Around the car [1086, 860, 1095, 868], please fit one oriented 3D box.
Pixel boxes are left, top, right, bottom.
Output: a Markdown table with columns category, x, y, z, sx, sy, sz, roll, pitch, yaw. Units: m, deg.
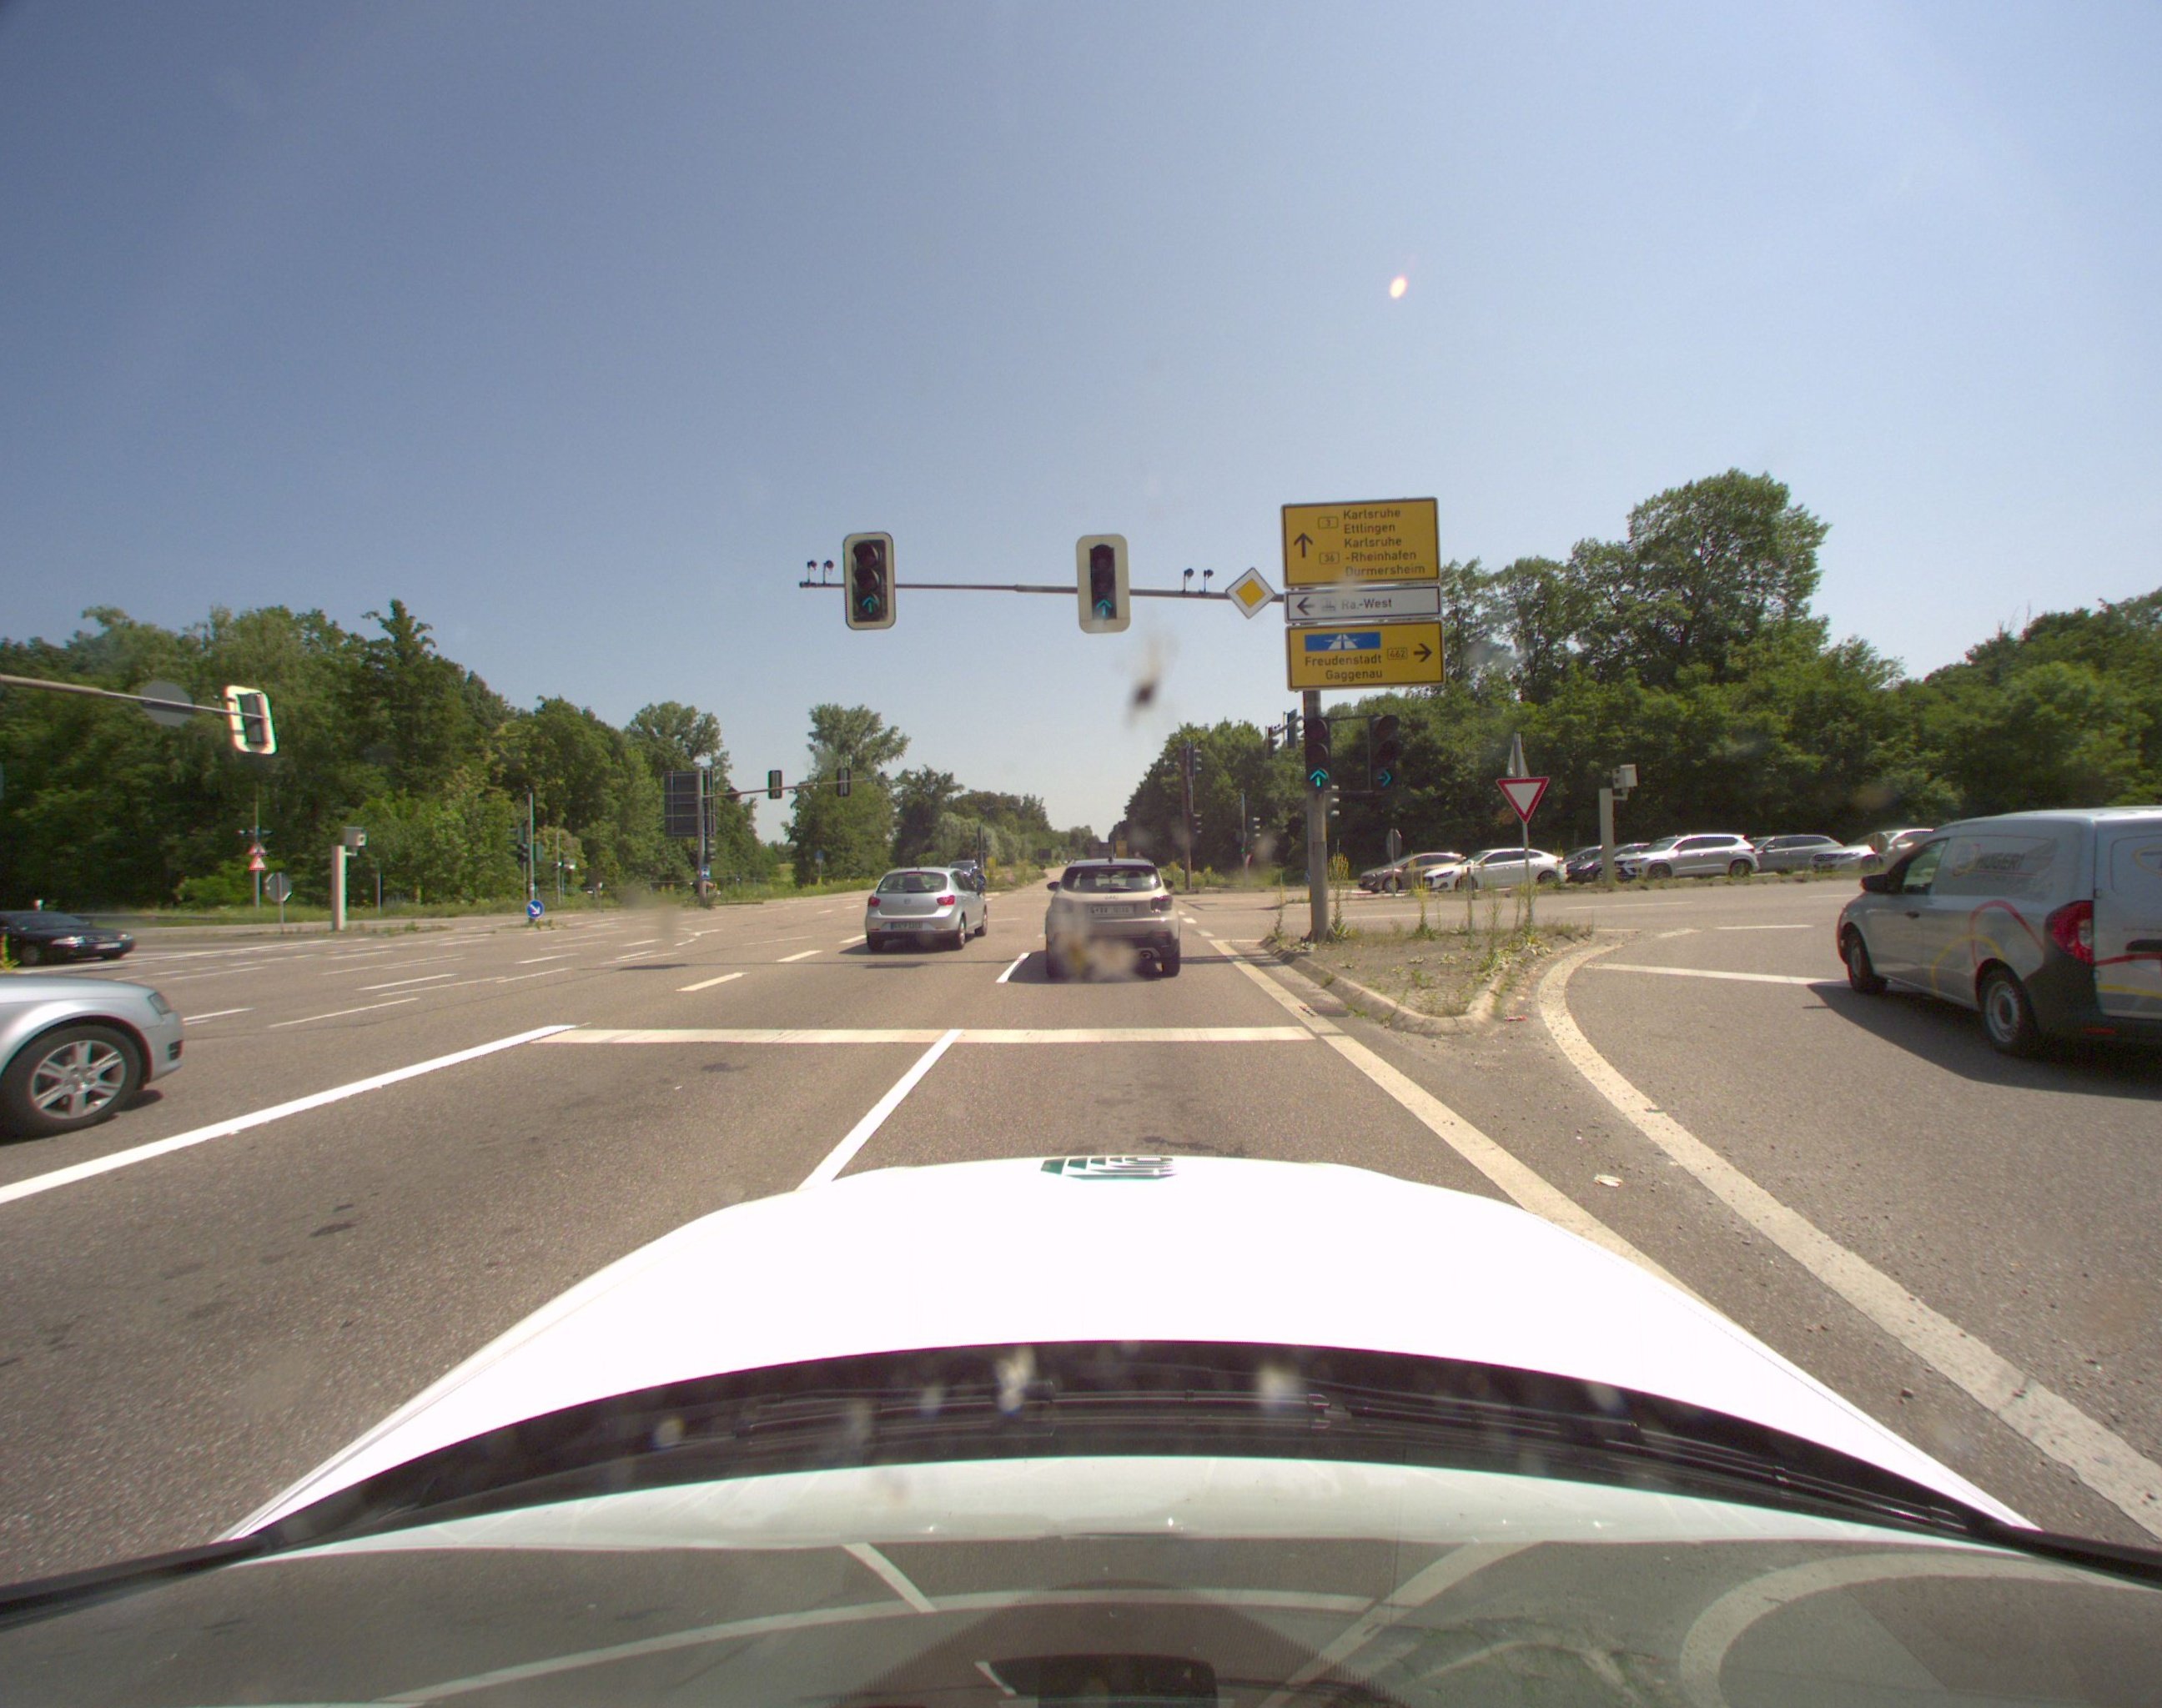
| category | x | y | z | sx | sy | sz | roll | pitch | yaw |
| --- | --- | --- | --- | --- | --- | --- | --- | --- | --- |
| car | 2.495 | 2.518 | 210.857 | 1.986 | 2.014 | 4.555 | -2 | -1 | 2 |

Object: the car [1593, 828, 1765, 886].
| category | x | y | z | sx | sy | sz | roll | pitch | yaw |
| --- | --- | --- | --- | --- | --- | --- | --- | --- | --- |
| car | 19.626 | 0.100 | 26.886 | 4.156 | 1.659 | 2.001 | -2 | -1 | 2 |

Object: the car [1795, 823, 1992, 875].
| category | x | y | z | sx | sy | sz | roll | pitch | yaw |
| --- | --- | --- | --- | --- | --- | --- | --- | --- | --- |
| car | 26.405 | -0.140 | 26.587 | 4.314 | 1.414 | 1.975 | -3 | -1 | 2 |

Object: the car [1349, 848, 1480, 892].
| category | x | y | z | sx | sy | sz | roll | pitch | yaw |
| --- | --- | --- | --- | --- | --- | --- | --- | --- | --- |
| car | 12.467 | 0.595 | 30.635 | 4.079 | 1.447 | 1.995 | -2 | -1 | -1 |

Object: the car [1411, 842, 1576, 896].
| category | x | y | z | sx | sy | sz | roll | pitch | yaw |
| --- | --- | --- | --- | --- | --- | --- | --- | --- | --- |
| car | 13.450 | 0.477 | 26.757 | 4.405 | 1.535 | 2.000 | -2 | -1 | 0 |

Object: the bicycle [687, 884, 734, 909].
| category | x | y | z | sx | sy | sz | roll | pitch | yaw |
| --- | --- | --- | --- | --- | --- | --- | --- | --- | --- |
| bicycle | -17.653 | 2.020 | 38.855 | 0.715 | 1.063 | 1.881 | -3 | -1 | 39 |

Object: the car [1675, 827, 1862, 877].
| category | x | y | z | sx | sy | sz | roll | pitch | yaw |
| --- | --- | --- | --- | --- | --- | --- | --- | --- | --- |
| car | 25.626 | -0.049 | 30.521 | 5.109 | 1.534 | 2.139 | -3 | -2 | 2 |

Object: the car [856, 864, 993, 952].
| category | x | y | z | sx | sy | sz | roll | pitch | yaw |
| --- | --- | --- | --- | --- | --- | --- | --- | --- | --- |
| car | -2.788 | 0.917 | 15.309 | 1.659 | 1.430 | 3.830 | 0 | -1 | 3 |

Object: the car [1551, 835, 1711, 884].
| category | x | y | z | sx | sy | sz | roll | pitch | yaw |
| --- | --- | --- | --- | --- | --- | --- | --- | --- | --- |
| car | 20.115 | 0.216 | 29.941 | 4.403 | 1.535 | 2.123 | -2 | -2 | 1 |

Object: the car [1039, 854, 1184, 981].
| category | x | y | z | sx | sy | sz | roll | pitch | yaw |
| --- | --- | --- | --- | --- | --- | --- | --- | --- | --- |
| car | 0.468 | 0.799 | 12.065 | 1.760 | 1.535 | 4.003 | -1 | -1 | 3 |

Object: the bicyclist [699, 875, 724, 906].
| category | x | y | z | sx | sy | sz | roll | pitch | yaw |
| --- | --- | --- | --- | --- | --- | --- | --- | --- | --- |
| bicyclist | -17.658 | 1.742 | 38.886 | 0.914 | 1.459 | 0.721 | -3 | -1 | 39 |

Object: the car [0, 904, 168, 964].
| category | x | y | z | sx | sy | sz | roll | pitch | yaw |
| --- | --- | --- | --- | --- | --- | --- | --- | --- | --- |
| car | -27.042 | 2.089 | 20.959 | 4.786 | 1.290 | 2.106 | -2 | -1 | 2 |

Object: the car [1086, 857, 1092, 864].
| category | x | y | z | sx | sy | sz | roll | pitch | yaw |
| --- | --- | --- | --- | --- | --- | --- | --- | --- | --- |
| car | 2.473 | 2.033 | 256.585 | 1.767 | 2.014 | 4.003 | -2 | -1 | 3 |

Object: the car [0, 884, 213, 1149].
| category | x | y | z | sx | sy | sz | roll | pitch | yaw |
| --- | --- | --- | --- | --- | --- | --- | --- | --- | --- |
| car | -6.704 | 0.895 | 3.430 | 1.759 | 1.391 | 4.014 | 0 | 0 | 0 |

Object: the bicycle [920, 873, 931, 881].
| category | x | y | z | sx | sy | sz | roll | pitch | yaw |
| --- | --- | --- | --- | --- | --- | --- | --- | --- | --- |
| bicycle | -20.573 | 3.071 | 107.783 | 0.671 | 1.005 | 1.806 | -3 | -1 | 12 |

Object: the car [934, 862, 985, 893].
| category | x | y | z | sx | sy | sz | roll | pitch | yaw |
| --- | --- | --- | --- | --- | --- | --- | --- | --- | --- |
| car | -7.314 | 1.401 | 49.674 | 1.985 | 1.678 | 5.369 | -3 | -1 | 3 |

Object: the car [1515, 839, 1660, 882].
| category | x | y | z | sx | sy | sz | roll | pitch | yaw |
| --- | --- | --- | --- | --- | --- | --- | --- | --- | --- |
| car | 20.811 | 0.283 | 33.633 | 4.599 | 1.498 | 2.113 | -2 | -1 | 2 |

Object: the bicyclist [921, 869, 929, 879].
| category | x | y | z | sx | sy | sz | roll | pitch | yaw |
| --- | --- | --- | --- | --- | --- | --- | --- | --- | --- |
| bicyclist | -20.617 | 2.662 | 107.718 | 0.752 | 1.195 | 0.594 | -3 | -1 | 12 |

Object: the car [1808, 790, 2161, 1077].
| category | x | y | z | sx | sy | sz | roll | pitch | yaw |
| --- | --- | --- | --- | --- | --- | --- | --- | --- | --- |
| car | 7.941 | 0.459 | 6.737 | 1.740 | 1.773 | 4.136 | -2 | -1 | 26 |

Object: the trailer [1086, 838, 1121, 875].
| category | x | y | z | sx | sy | sz | roll | pitch | yaw |
| --- | --- | --- | --- | --- | --- | --- | --- | --- | --- |
| trailer | 2.713 | 0.315 | 93.900 | 3.366 | 3.989 | 10.819 | -1 | -1 | 5 |
